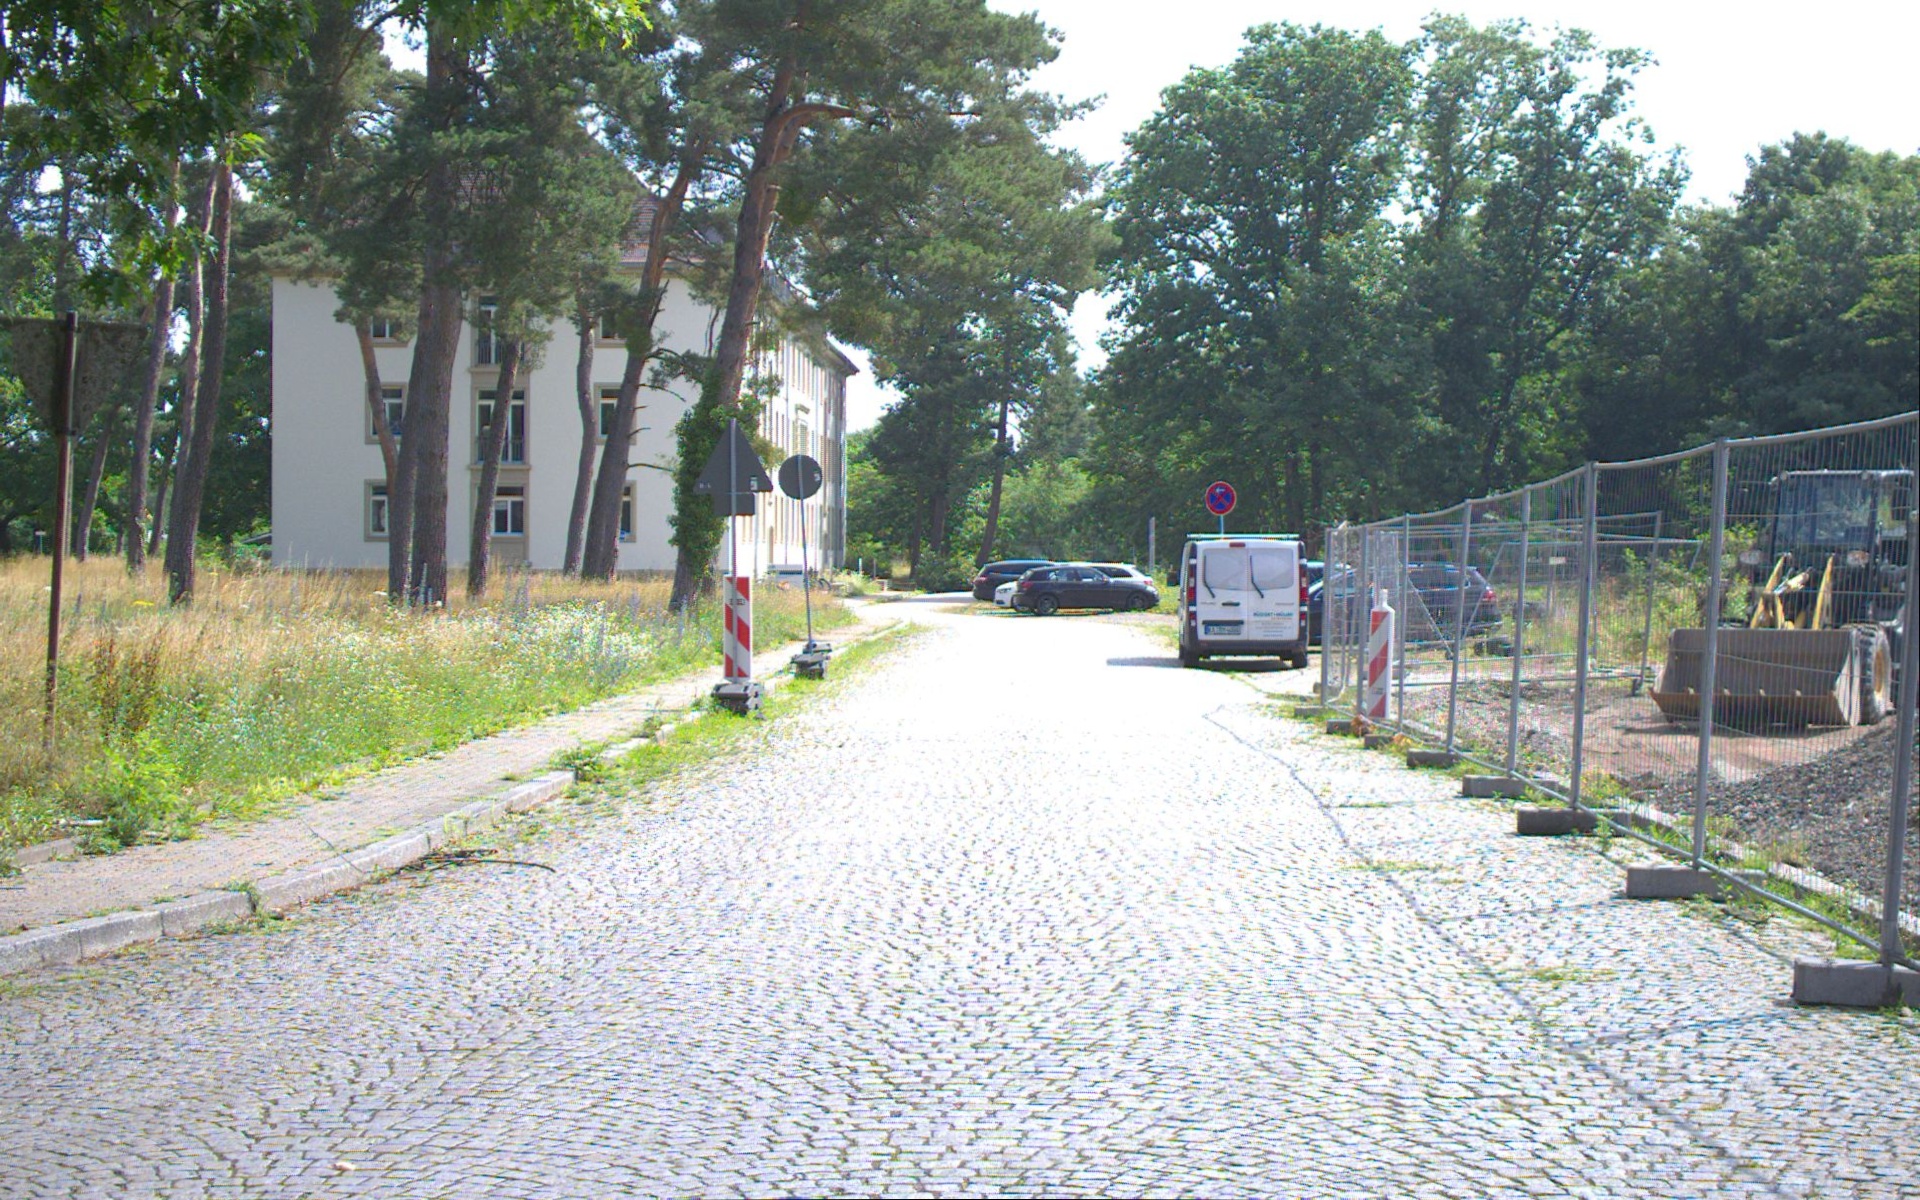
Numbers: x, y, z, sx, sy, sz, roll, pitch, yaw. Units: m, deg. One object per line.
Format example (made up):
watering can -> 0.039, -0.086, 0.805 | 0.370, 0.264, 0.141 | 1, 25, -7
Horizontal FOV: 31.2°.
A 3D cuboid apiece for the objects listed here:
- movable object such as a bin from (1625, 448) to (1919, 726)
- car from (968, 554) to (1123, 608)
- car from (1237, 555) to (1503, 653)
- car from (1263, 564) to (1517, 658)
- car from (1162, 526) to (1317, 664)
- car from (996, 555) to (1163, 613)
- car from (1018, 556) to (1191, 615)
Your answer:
movable object such as a bin -> 8.541, -0.154, 34.619 | 2.132, 2.584, 4.783 | 1, 1, 30
car -> 2.722, -0.620, 110.229 | 4.779, 1.635, 2.000 | 1, 1, -4
car -> 7.047, 0.053, 58.898 | 4.404, 1.505, 1.999 | 2, 1, 9
car -> 7.729, 0.180, 61.614 | 4.404, 1.505, 1.999 | 2, 1, 9
car -> 4.247, -0.099, 52.838 | 1.993, 2.007, 4.091 | 1, 1, 0
car -> 3.548, -0.489, 102.702 | 4.779, 1.635, 2.000 | 1, 1, -4
car -> 4.157, -0.429, 99.537 | 4.779, 1.635, 2.000 | 1, 1, -4
